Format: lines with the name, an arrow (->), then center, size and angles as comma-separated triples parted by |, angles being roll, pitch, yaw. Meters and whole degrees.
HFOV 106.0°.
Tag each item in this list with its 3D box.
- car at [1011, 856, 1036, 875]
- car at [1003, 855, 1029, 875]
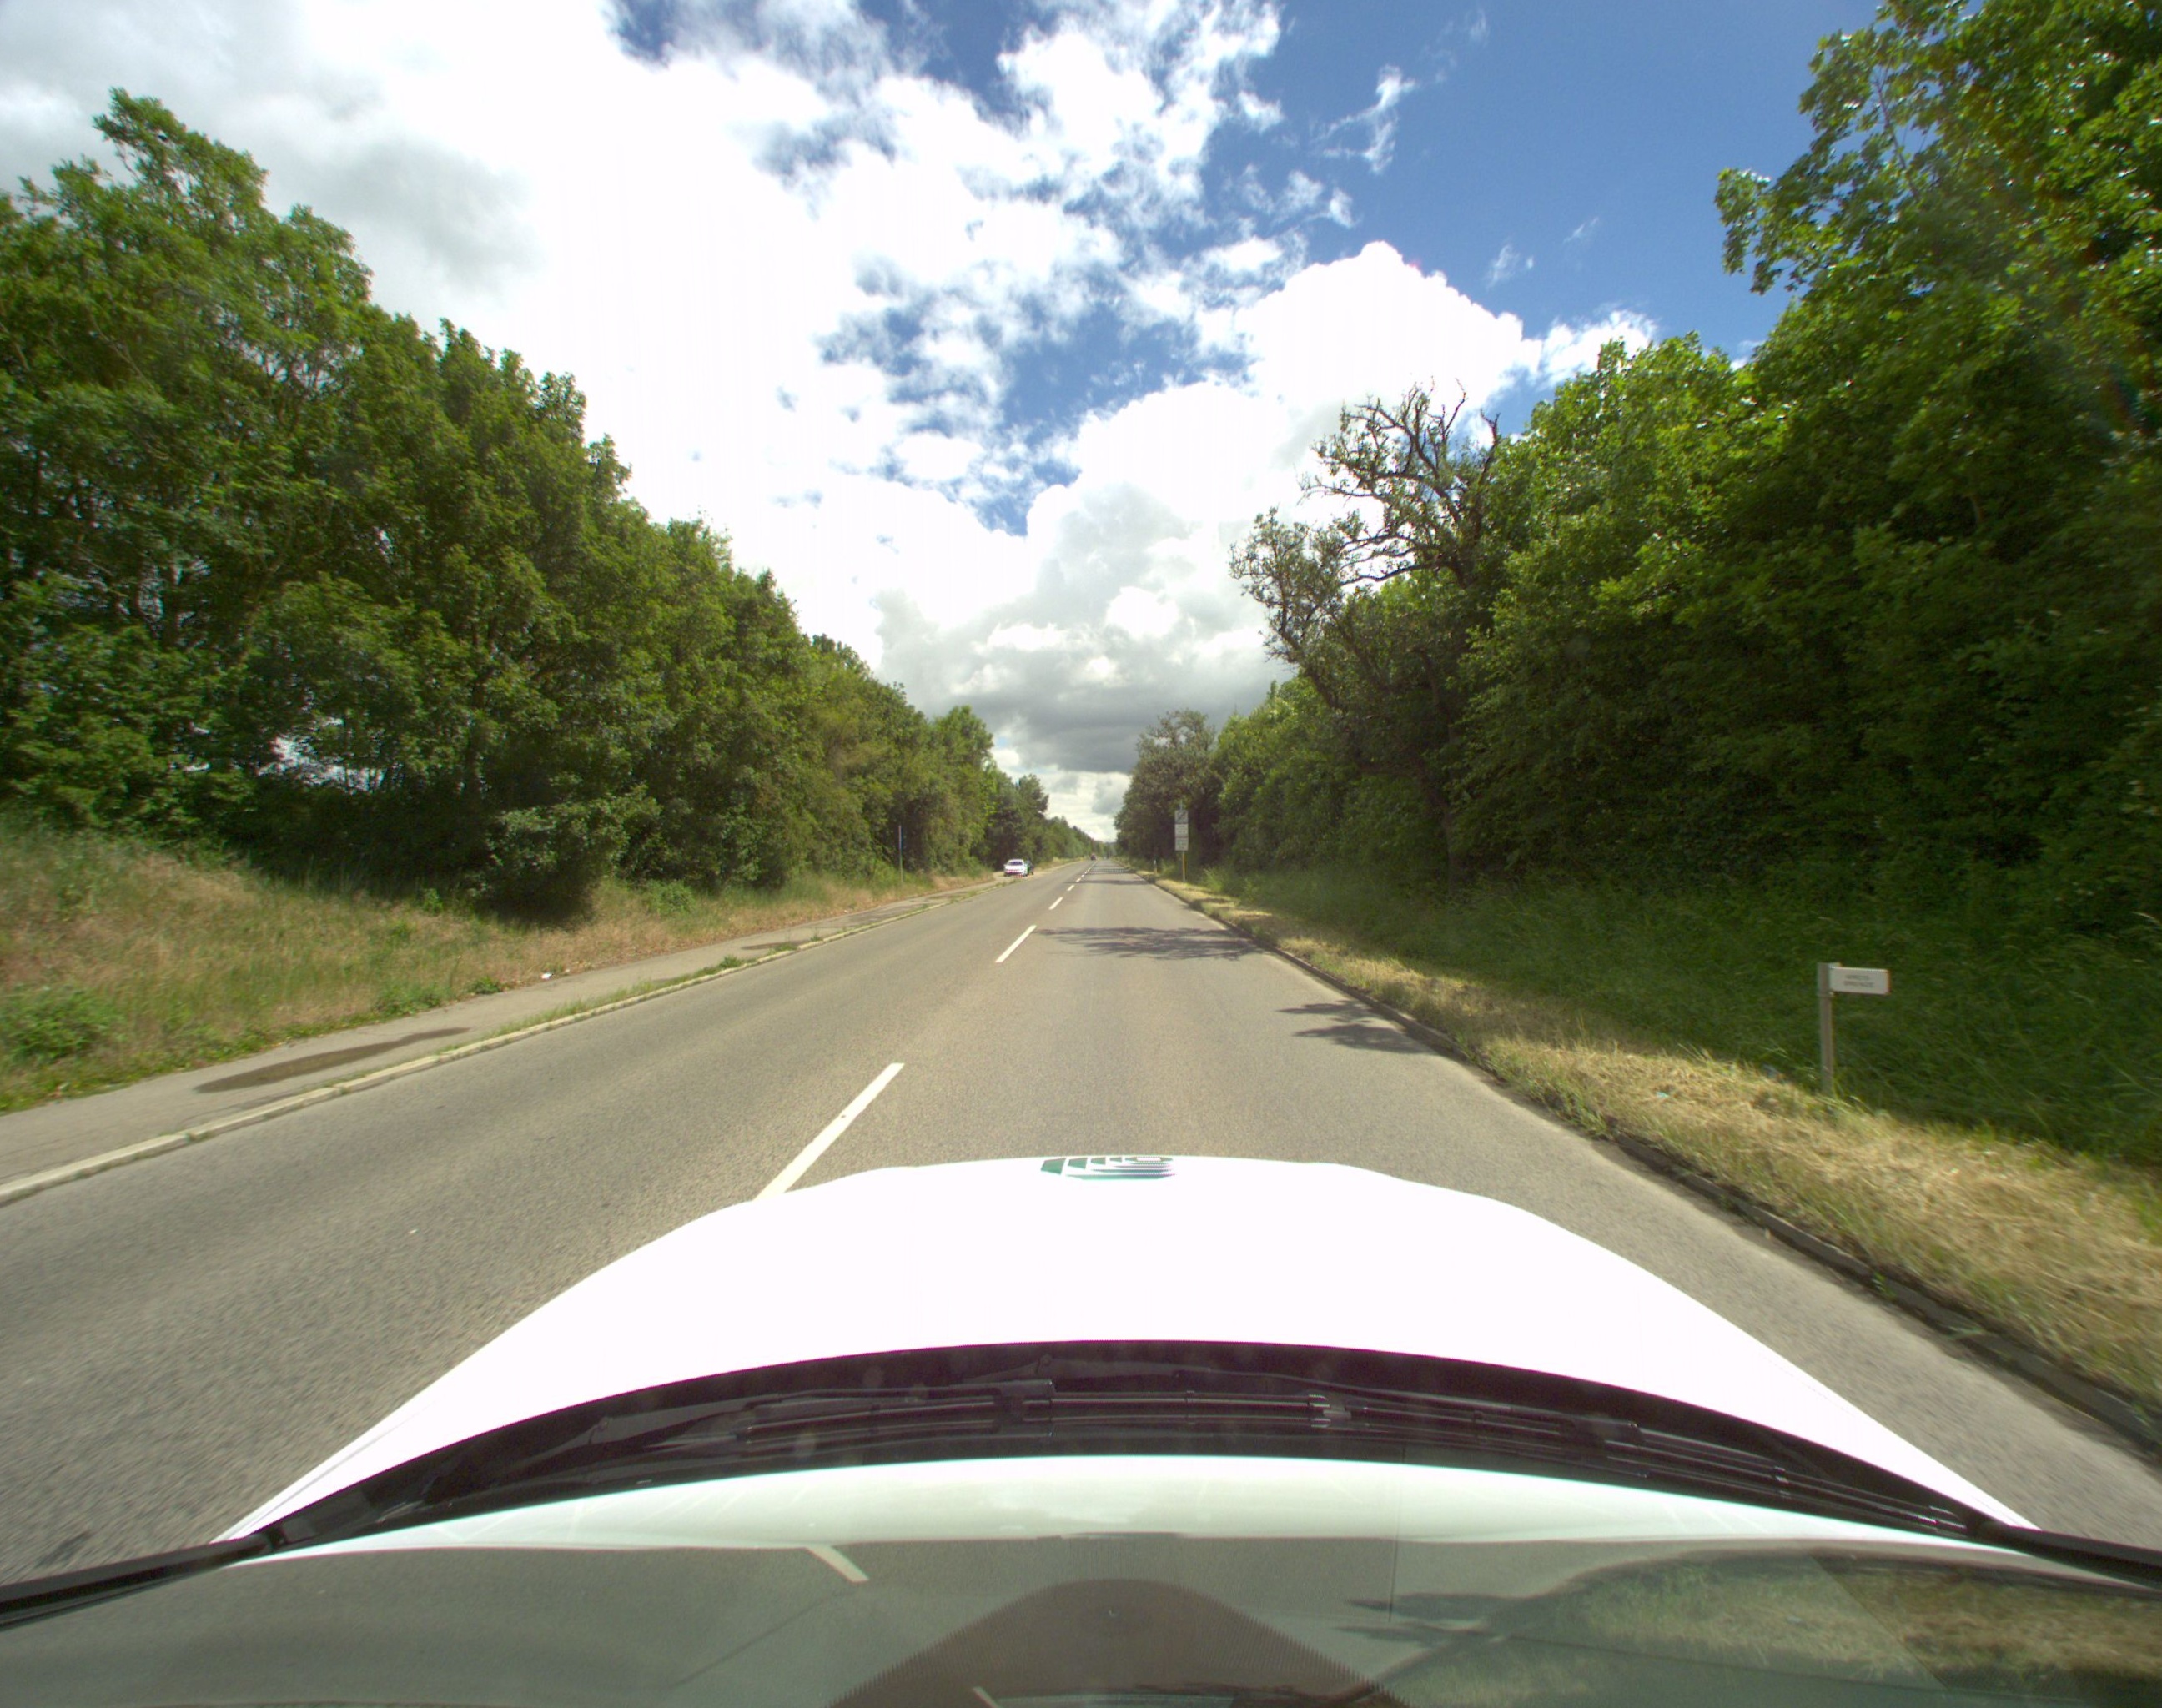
car -> -5.454, 1.096, 77.445 | 1.791, 1.625, 3.958 | -2, 1, 3
car -> -5.553, 0.962, 69.873 | 1.791, 1.543, 3.956 | -2, -1, 1
